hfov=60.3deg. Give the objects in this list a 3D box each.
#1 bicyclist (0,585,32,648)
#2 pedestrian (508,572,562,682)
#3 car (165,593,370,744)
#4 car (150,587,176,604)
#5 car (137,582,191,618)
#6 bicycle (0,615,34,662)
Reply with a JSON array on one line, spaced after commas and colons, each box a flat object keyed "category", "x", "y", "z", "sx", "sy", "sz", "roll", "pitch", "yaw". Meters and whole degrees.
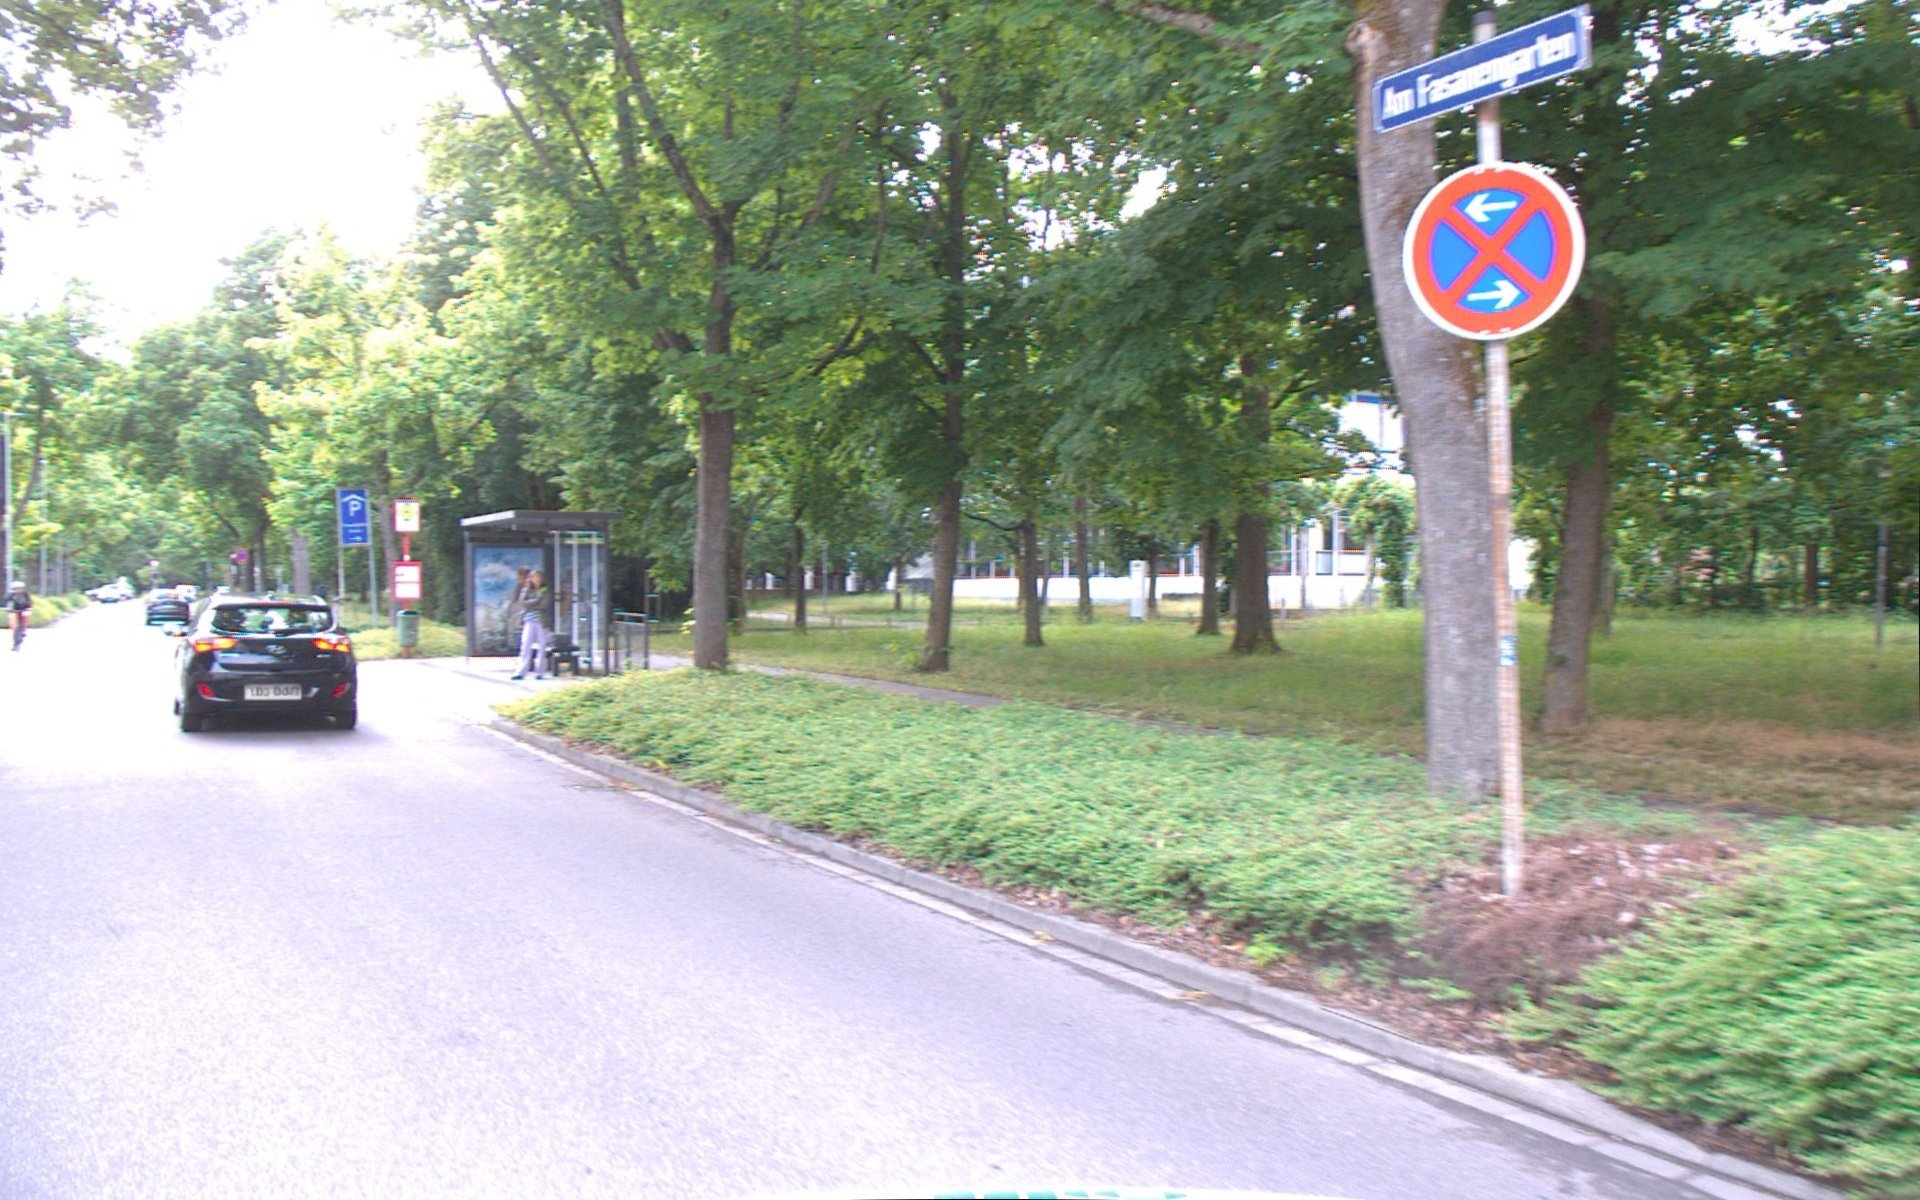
[{"category": "bicyclist", "x": -22.978, "y": 0.400, "z": 40.059, "sx": 0.774, "sy": 1.495, "sz": 0.929, "roll": -1, "pitch": 1, "yaw": -26}, {"category": "pedestrian", "x": -6.387, "y": 0.394, "z": 24.848, "sx": 0.646, "sy": 1.611, "sz": 0.692, "roll": -1, "pitch": 1, "yaw": -27}, {"category": "car", "x": -7.935, "y": 0.684, "z": 18.767, "sx": 1.825, "sy": 1.488, "sz": 3.793, "roll": 0, "pitch": 1, "yaw": -28}, {"category": "car", "x": -70.535, "y": -0.415, "z": 146.323, "sx": 1.970, "sy": 1.512, "sz": 3.965, "roll": -1, "pitch": 1, "yaw": -27}, {"category": "car", "x": -34.664, "y": -0.011, "z": 71.957, "sx": 1.845, "sy": 1.488, "sz": 4.075, "roll": -1, "pitch": 1, "yaw": -30}, {"category": "bicycle", "x": -22.932, "y": 0.913, "z": 39.978, "sx": 0.785, "sy": 1.043, "sz": 2.542, "roll": -1, "pitch": 1, "yaw": -26}]
